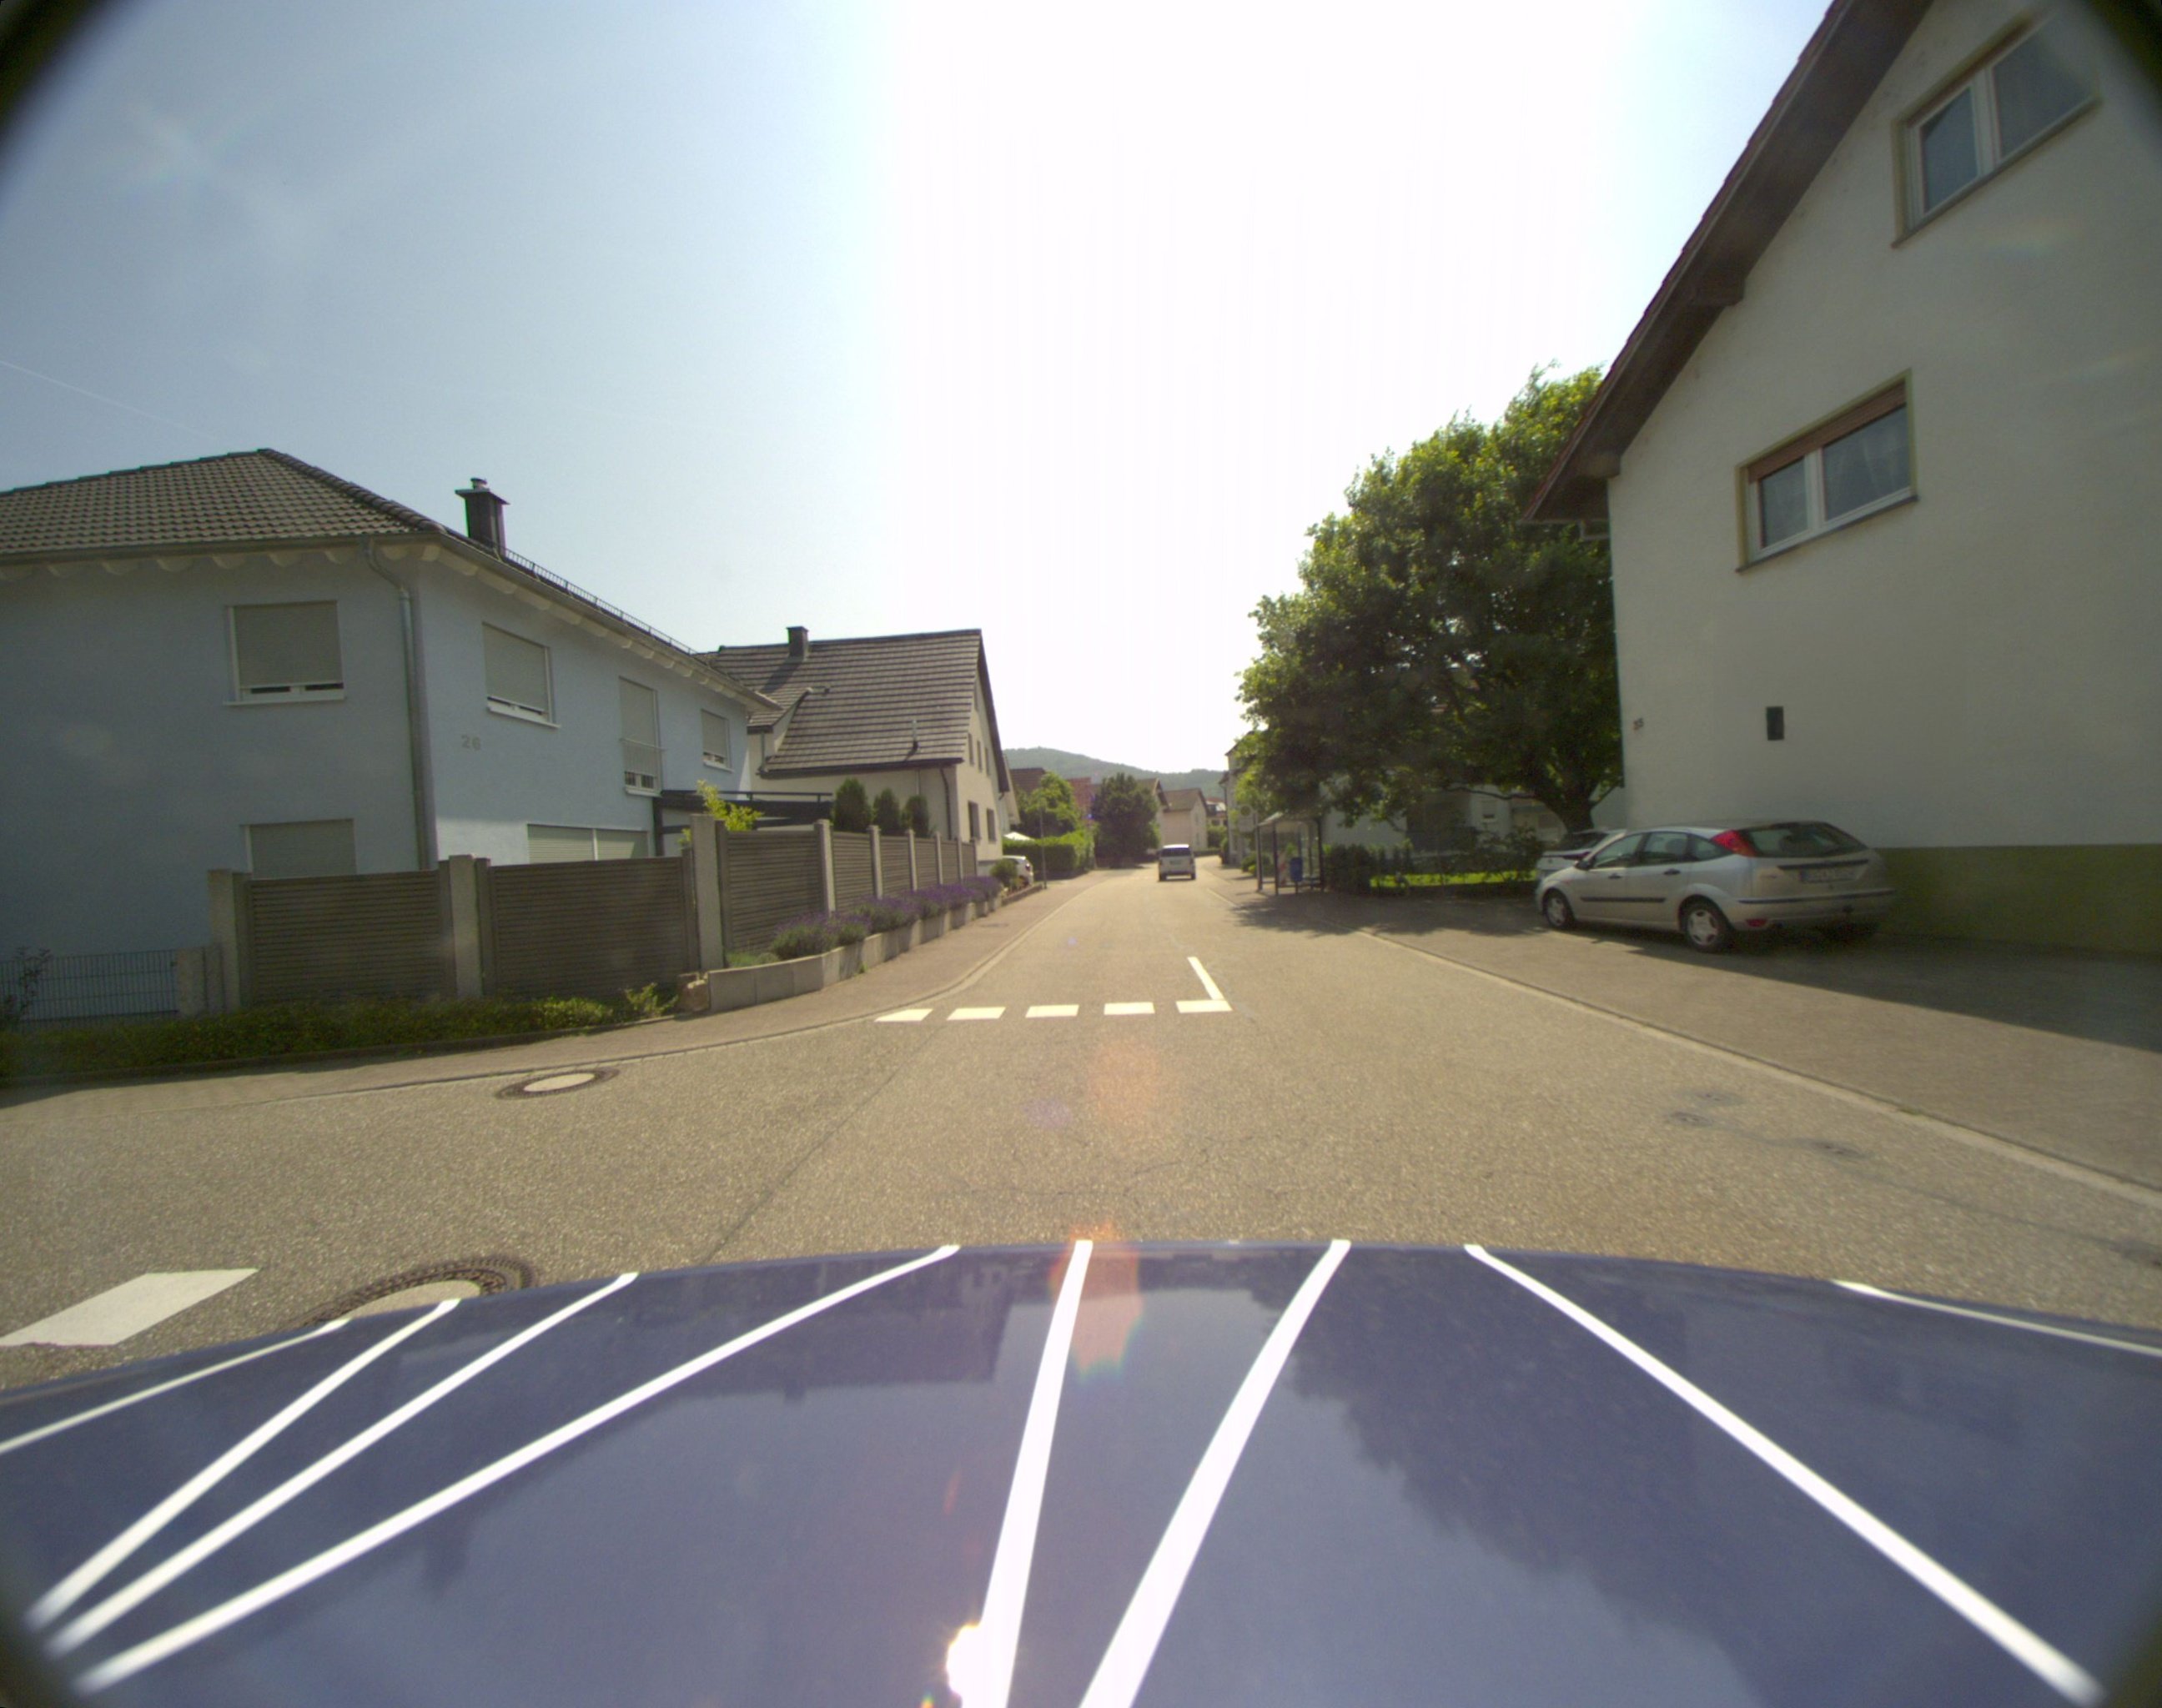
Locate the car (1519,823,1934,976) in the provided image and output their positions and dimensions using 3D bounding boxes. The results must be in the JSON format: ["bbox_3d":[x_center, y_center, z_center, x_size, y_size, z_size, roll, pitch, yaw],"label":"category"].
[{"bbox_3d":[7.656,0.467,9.664,1.783,1.426,4.056,-4,0,1],"label":"car"}]

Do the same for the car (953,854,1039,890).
[{"bbox_3d":[-3.829,0.798,34.552,3.666,1.466,1.765,-2,0,0],"label":"car"}]

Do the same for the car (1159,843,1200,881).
[{"bbox_3d":[4.952,0.362,38.734,1.889,1.757,4.332,-2,1,6],"label":"car"}]

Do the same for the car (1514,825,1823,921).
[{"bbox_3d":[10.484,0.329,13.807,4.170,1.529,1.774,-2,0,2],"label":"car"}]
